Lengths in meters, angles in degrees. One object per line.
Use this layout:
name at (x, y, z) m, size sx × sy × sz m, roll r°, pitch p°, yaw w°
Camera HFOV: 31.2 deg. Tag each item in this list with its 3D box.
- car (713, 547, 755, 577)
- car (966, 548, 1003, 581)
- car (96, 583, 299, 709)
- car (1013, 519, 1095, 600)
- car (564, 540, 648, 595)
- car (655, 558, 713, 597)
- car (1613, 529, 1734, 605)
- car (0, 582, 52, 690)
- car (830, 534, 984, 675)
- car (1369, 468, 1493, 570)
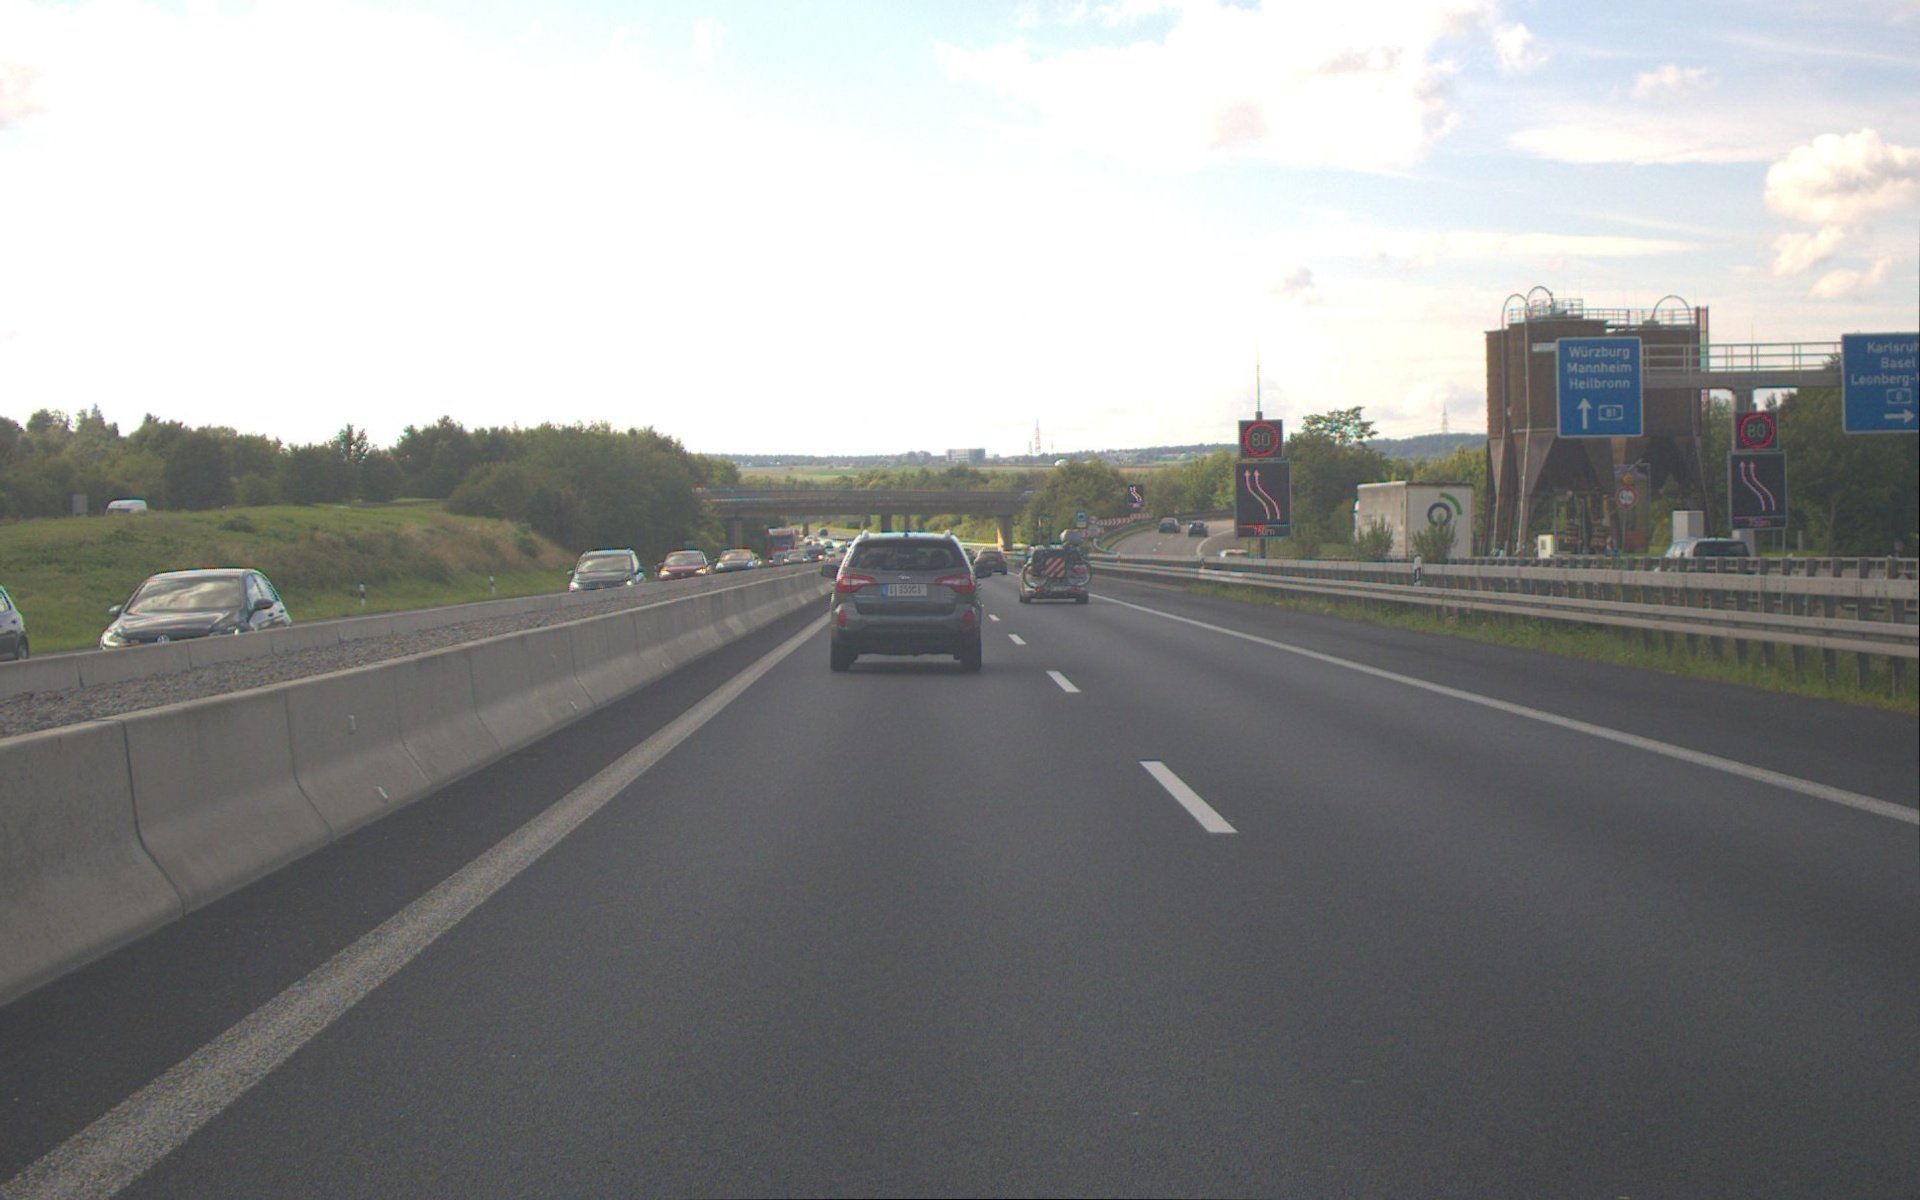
car at (-11.156, -1.874, 169.965) m, size 1.787 × 1.393 × 4.623 m, roll -2°, pitch 1°, yaw -1°
car at (1.396, -2.033, 196.416) m, size 1.975 × 1.773 × 4.120 m, roll -2°, pitch 1°, yaw -1°
car at (-9.290, 0.530, 42.147) m, size 1.641 × 1.393 × 3.742 m, roll -2°, pitch 1°, yaw -1°
car at (2.529, -1.106, 93.225) m, size 1.993 × 2.073 × 4.000 m, roll -2°, pitch 1°, yaw 0°
car at (-9.498, -0.887, 92.607) m, size 1.787 × 1.393 × 4.725 m, roll -2°, pitch 1°, yaw -1°
car at (-10.372, -0.868, 129.507) m, size 1.787 × 1.393 × 4.800 m, roll -2°, pitch 1°, yaw -1°
car at (17.088, -0.800, 82.480) m, size 1.993 × 1.711 × 4.000 m, roll -2°, pitch 1°, yaw 0°
car at (-13.462, 0.512, 45.632) m, size 1.727 × 1.393 × 4.158 m, roll -2°, pitch 1°, yaw -1°
car at (-0.617, 0.025, 42.877) m, size 1.750 × 1.624 × 3.609 m, roll -2°, pitch 1°, yaw 1°
car at (18.056, -3.076, 132.316) m, size 3.576 × 3.664 × 7.549 m, roll -2°, pitch 1°, yaw 0°
